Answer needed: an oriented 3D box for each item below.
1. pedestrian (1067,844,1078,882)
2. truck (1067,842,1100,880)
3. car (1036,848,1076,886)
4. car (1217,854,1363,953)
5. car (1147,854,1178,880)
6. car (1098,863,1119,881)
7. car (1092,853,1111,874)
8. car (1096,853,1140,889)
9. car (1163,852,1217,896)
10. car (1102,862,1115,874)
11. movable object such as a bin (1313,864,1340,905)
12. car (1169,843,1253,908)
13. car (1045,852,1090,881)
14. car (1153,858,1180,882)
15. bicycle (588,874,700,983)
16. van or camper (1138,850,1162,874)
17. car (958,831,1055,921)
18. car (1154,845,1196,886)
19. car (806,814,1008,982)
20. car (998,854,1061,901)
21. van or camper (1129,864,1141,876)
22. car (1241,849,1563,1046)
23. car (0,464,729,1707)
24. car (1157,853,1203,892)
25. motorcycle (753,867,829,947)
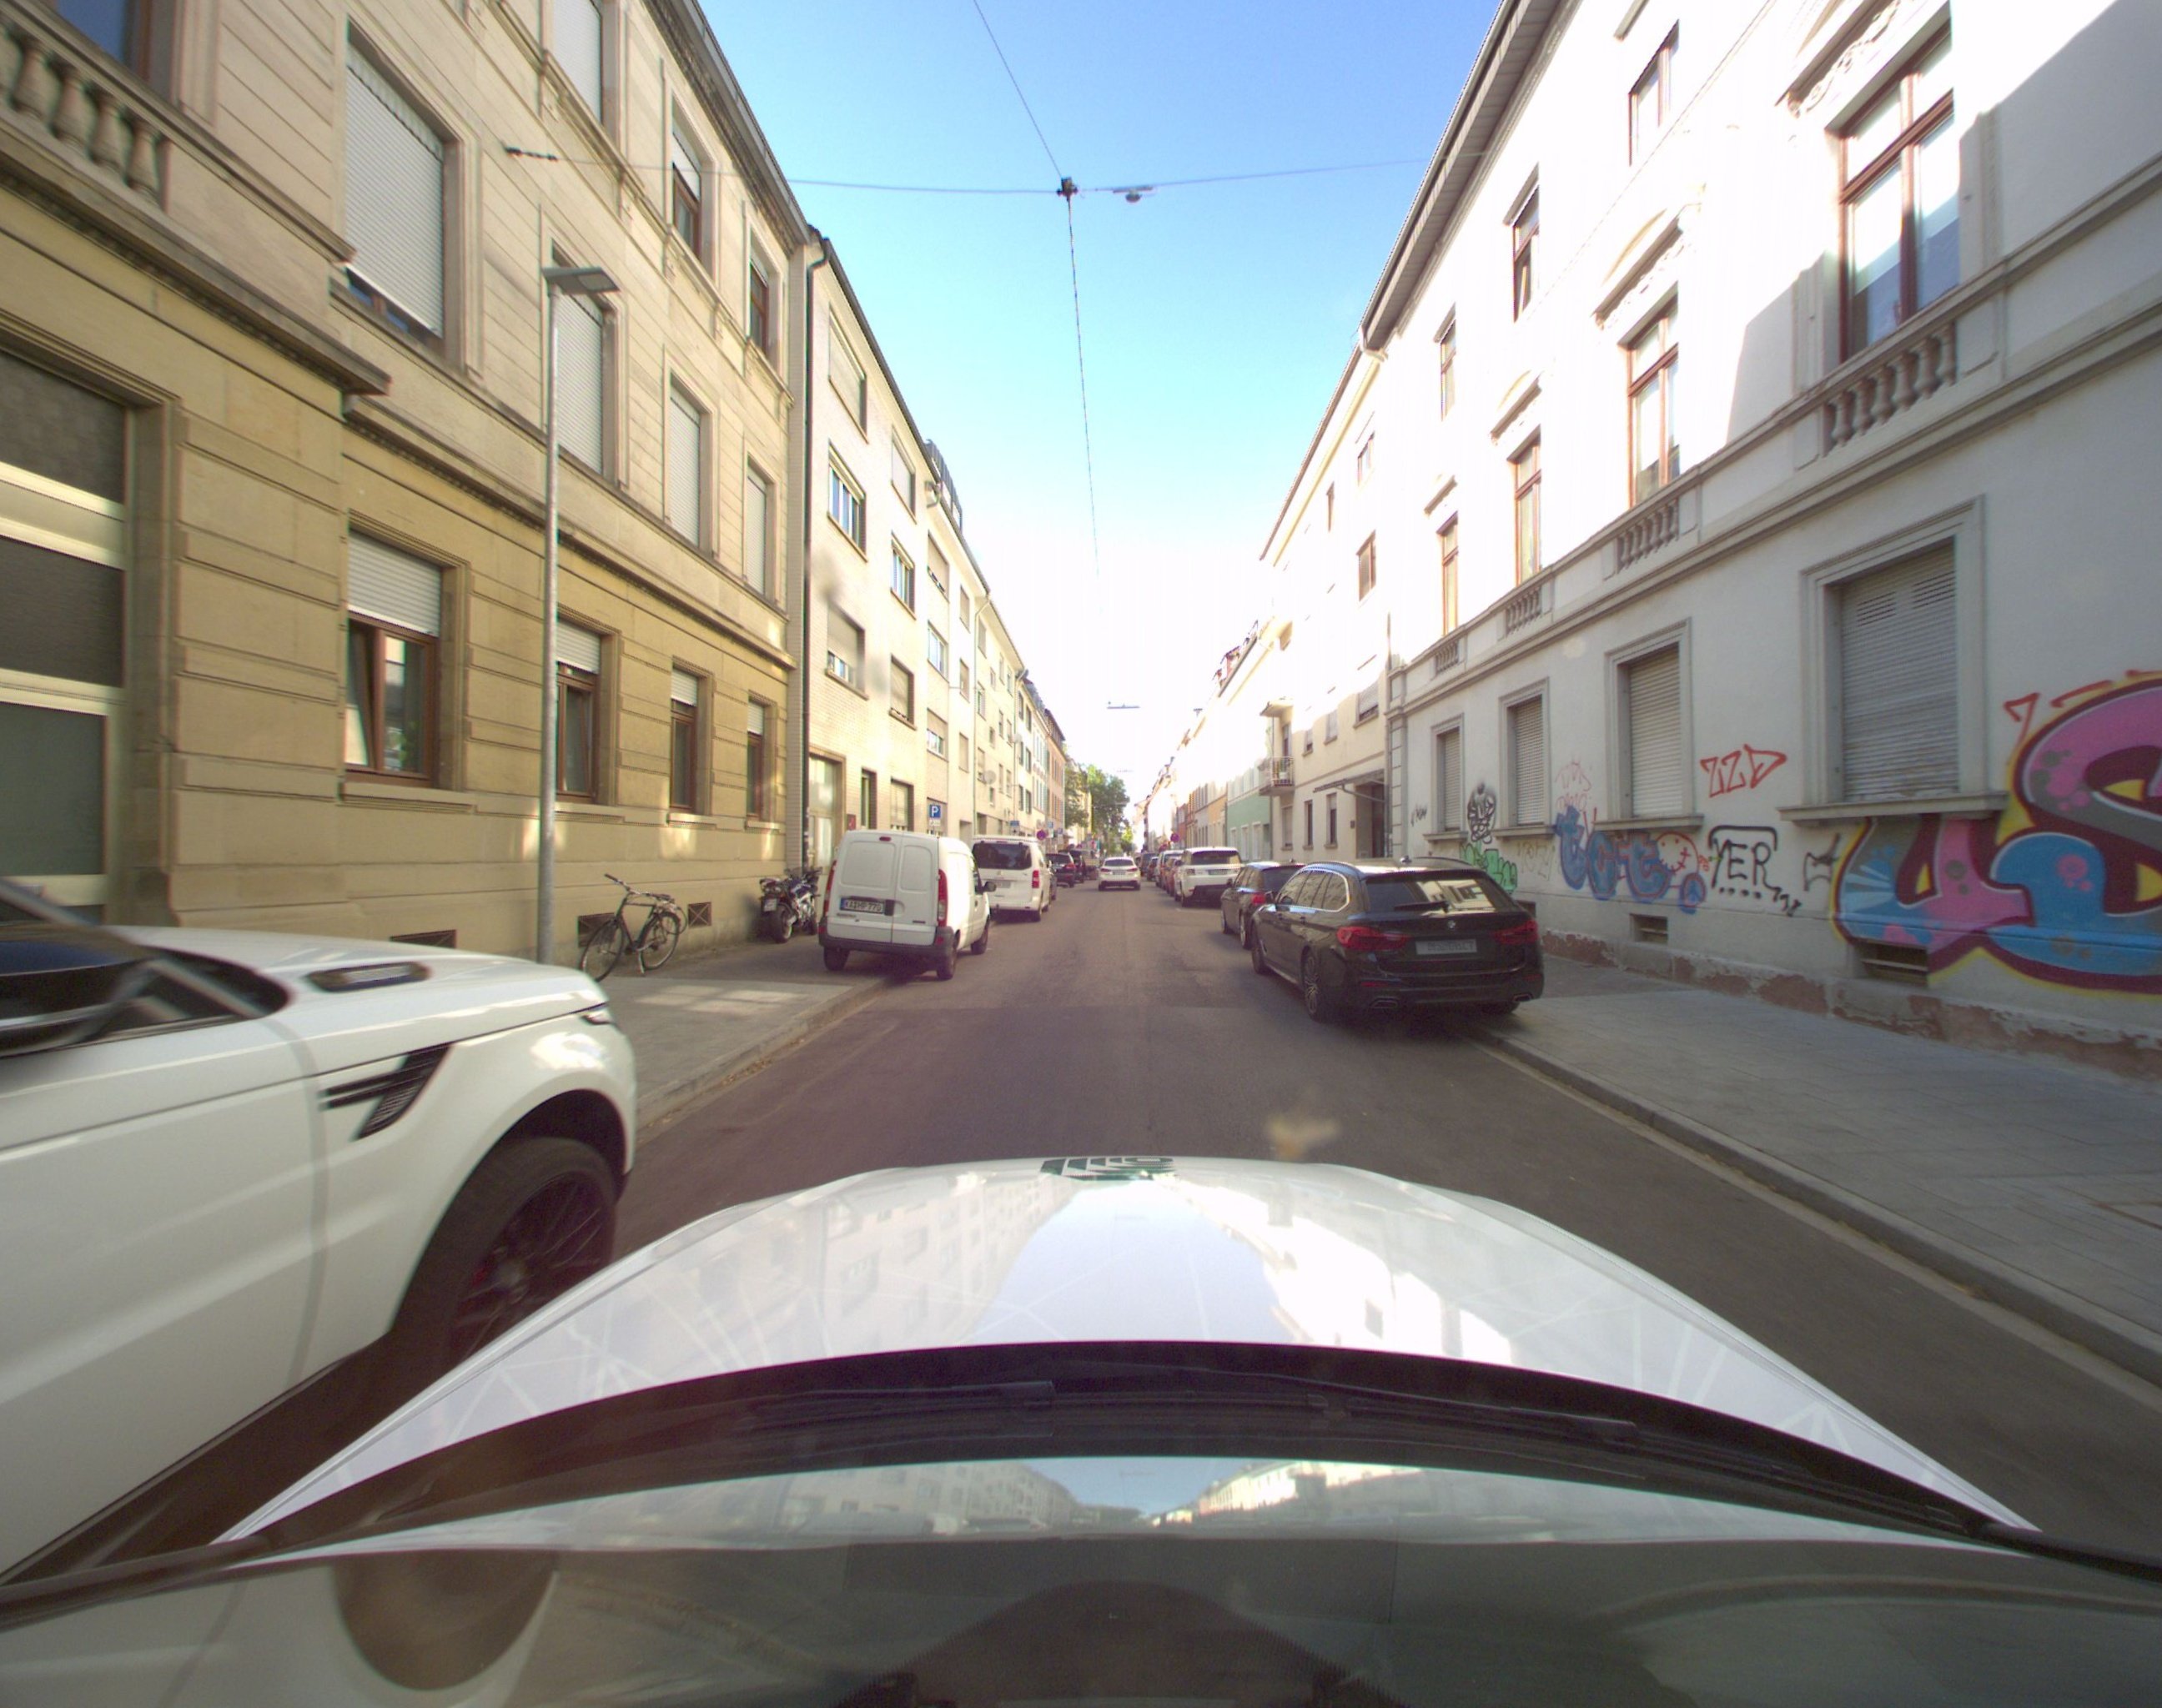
[{"bbox_3d":[-0.491,0.544,48.584,0.616,2.229,0.688,-1,-2,3],"label":"pedestrian"},{"bbox_3d":[0.100,0.560,58.688,2.151,2.590,6.244,-1,-2,-2],"label":"truck"},{"bbox_3d":[-1.265,0.629,42.097,1.874,1.755,4.541,3,0,-1],"label":"car"},{"bbox_3d":[3.527,0.763,14.435,1.739,1.448,3.872,2,0,3],"label":"car"},{"bbox_3d":[5.177,0.791,51.848,1.732,1.577,4.380,0,0,3],"label":"car"},{"bbox_3d":[2.341,1.499,69.810,1.751,1.415,4.001,-2,0,1],"label":"car"},{"bbox_3d":[1.887,0.832,74.408,1.641,1.868,4.000,0,0,0],"label":"car"},{"bbox_3d":[1.697,0.719,36.169,1.826,1.486,4.061,0,-1,4],"label":"car"},{"bbox_3d":[4.126,0.714,31.323,1.735,1.569,4.035,0,0,2],"label":"car"},{"bbox_3d":[3.729,1.856,110.953,1.618,1.597,3.583,1,0,3],"label":"car"},{"bbox_3d":[6.525,0.798,21.643,0.574,1.071,0.553,-1,-1,5],"label":"movable object such as a bin"},{"bbox_3d":[3.845,0.578,24.866,1.997,1.783,4.942,0,0,3],"label":"car"},{"bbox_3d":[-0.755,0.726,50.946,2.431,1.706,5.246,0,0,3],"label":"car"},{"bbox_3d":[6.121,1.121,58.632,1.735,1.569,4.035,0,0,2],"label":"car"},{"bbox_3d":[-5.011,0.816,9.437,0.431,1.125,1.509,0,0,2],"label":"bicycle"},{"bbox_3d":[5.981,0.708,70.896,1.769,2.036,4.570,-2,-1,1],"label":"van or camper"},{"bbox_3d":[-1.739,0.473,20.644,1.887,1.958,4.782,2,0,1],"label":"car"},{"bbox_3d":[4.651,0.573,40.840,1.775,1.961,4.337,0,-1,2],"label":"car"},{"bbox_3d":[-2.238,0.506,11.653,1.737,1.876,4.092,3,0,3],"label":"car"},{"bbox_3d":[-1.652,0.741,27.503,1.700,1.450,4.303,1,0,2],"label":"car"},{"bbox_3d":[8.877,2.602,133.776,1.985,1.926,4.003,-1,-2,3],"label":"van or camper"},{"bbox_3d":[3.036,0.736,8.893,1.807,1.519,4.731,2,0,3],"label":"car"},{"bbox_3d":[-2.399,0.512,0.713,2.013,2.014,4.546,0,0,3],"label":"car"},{"bbox_3d":[4.333,0.781,36.033,1.575,1.632,3.681,1,0,0],"label":"car"},{"bbox_3d":[-4.740,0.823,13.454,0.431,1.185,2.122,0,0,2],"label":"motorcycle"}]
